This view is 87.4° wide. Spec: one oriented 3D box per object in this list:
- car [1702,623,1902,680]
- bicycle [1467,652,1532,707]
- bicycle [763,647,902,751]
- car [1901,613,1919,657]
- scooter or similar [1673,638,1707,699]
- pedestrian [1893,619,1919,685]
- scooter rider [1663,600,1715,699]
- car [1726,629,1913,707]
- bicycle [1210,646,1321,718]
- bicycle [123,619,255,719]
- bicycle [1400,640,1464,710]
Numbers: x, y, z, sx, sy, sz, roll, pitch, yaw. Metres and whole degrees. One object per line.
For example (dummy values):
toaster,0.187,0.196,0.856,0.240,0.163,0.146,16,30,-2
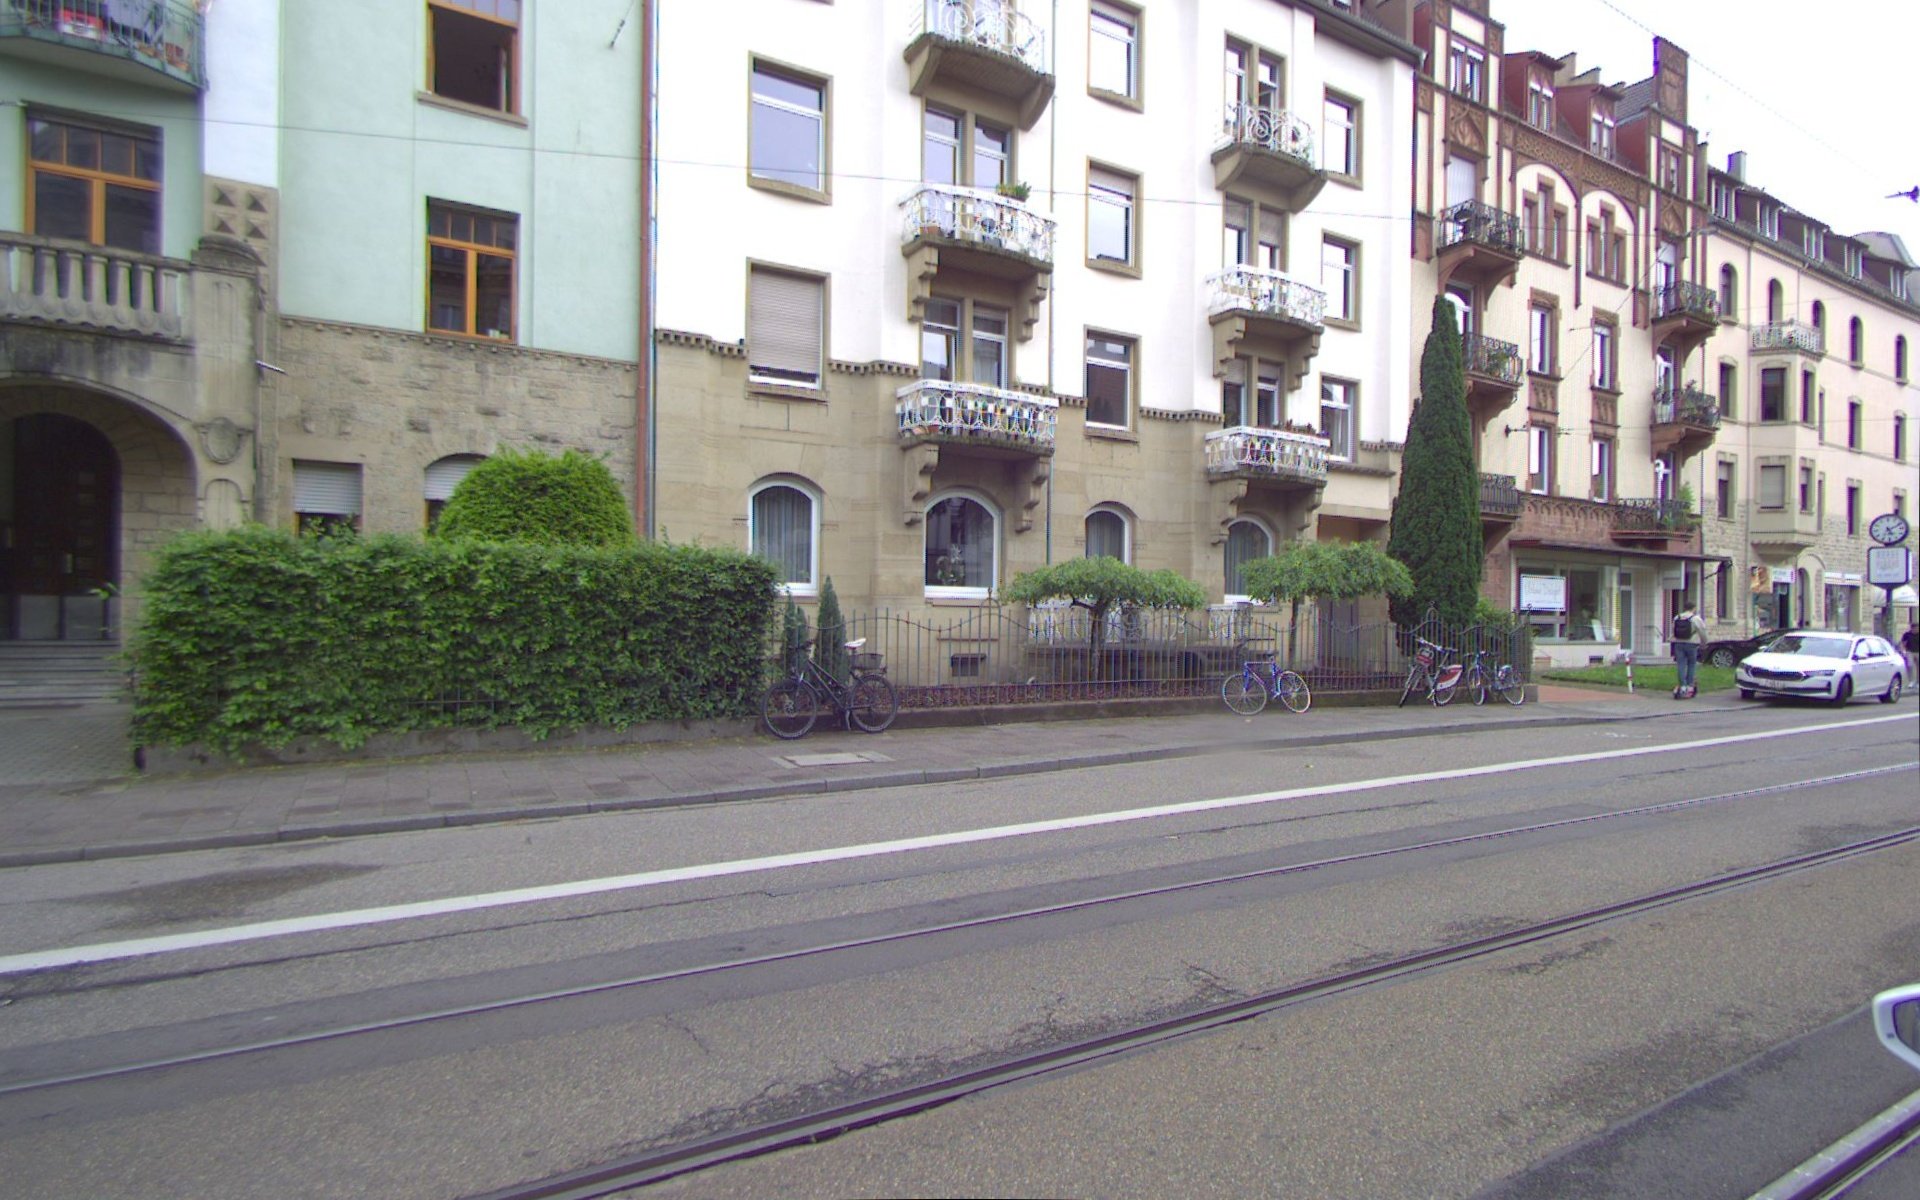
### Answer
car,26.076,1.550,31.257,1.861,1.389,4.397,1,1,-34
bicycle,9.777,1.420,18.185,1.498,0.950,0.330,1,-1,-31
bicycle,-1.413,1.081,11.272,1.529,1.098,0.358,1,-1,-31
car,54.244,1.917,54.760,2.142,2.449,5.382,0,-1,18
scooter or similar,15.336,1.434,21.103,0.942,1.250,0.230,1,-1,-30
pedestrian,27.236,1.476,28.743,0.875,1.868,0.662,1,-1,-39
scooter rider,15.335,1.025,21.126,0.749,2.040,0.639,1,-1,-30
car,18.551,1.393,21.630,4.557,1.504,1.738,1,-1,-31
bicycle,4.573,1.213,15.012,1.640,0.938,0.358,0,-19,-28
bicycle,-8.918,0.775,11.650,1.195,1.098,0.297,1,2,-37
bicycle,7.912,1.231,16.813,1.613,1.116,0.381,1,-1,-42
